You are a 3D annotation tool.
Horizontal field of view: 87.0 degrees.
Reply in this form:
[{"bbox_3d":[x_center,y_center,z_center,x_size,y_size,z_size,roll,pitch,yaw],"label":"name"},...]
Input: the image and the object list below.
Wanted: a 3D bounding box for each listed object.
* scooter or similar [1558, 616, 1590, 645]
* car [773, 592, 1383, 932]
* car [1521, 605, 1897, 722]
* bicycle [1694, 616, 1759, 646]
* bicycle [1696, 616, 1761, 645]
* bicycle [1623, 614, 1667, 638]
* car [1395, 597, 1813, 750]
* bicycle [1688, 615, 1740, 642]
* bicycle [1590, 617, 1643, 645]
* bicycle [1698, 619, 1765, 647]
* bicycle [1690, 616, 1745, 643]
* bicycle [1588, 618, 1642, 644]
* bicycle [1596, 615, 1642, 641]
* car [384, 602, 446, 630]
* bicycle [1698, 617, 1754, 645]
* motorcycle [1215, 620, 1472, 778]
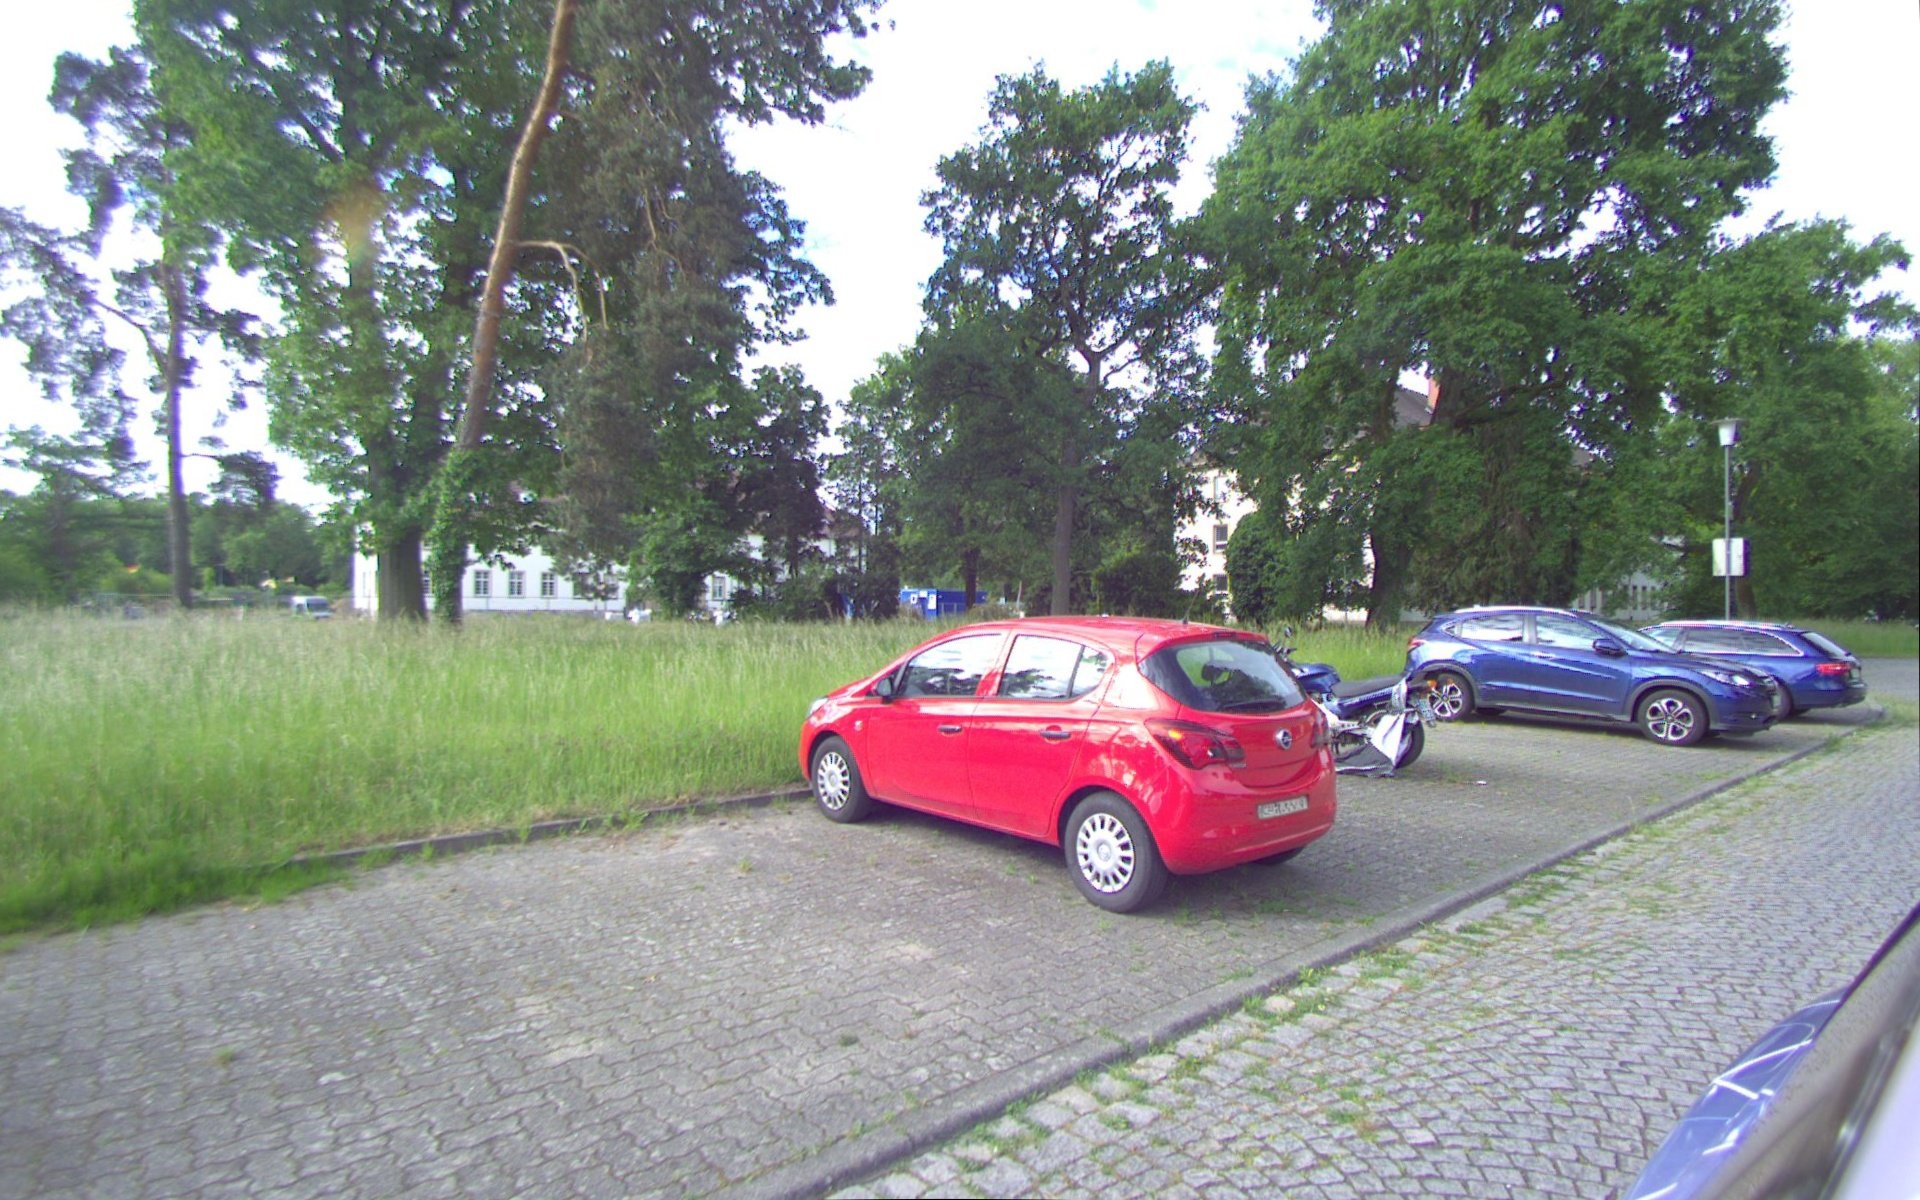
[{"bbox_3d":[25.712,1.265,42.385,0.378,1.210,1.063,1,-1,-38],"label":"scooter or similar"},{"bbox_3d":[0.518,0.741,6.687,1.708,1.524,3.845,1,0,-41],"label":"car"},{"bbox_3d":[11.814,0.895,16.281,1.860,1.483,4.518,1,1,-37],"label":"car"},{"bbox_3d":[30.310,1.227,40.059,1.999,1.101,0.474,1,2,28],"label":"bicycle"},{"bbox_3d":[30.738,1.213,40.523,1.999,1.101,0.474,1,2,28],"label":"bicycle"},{"bbox_3d":[30.454,1.151,45.028,1.550,1.047,0.472,1,0,26],"label":"bicycle"},{"bbox_3d":[8.245,0.805,13.281,1.862,1.593,4.271,1,0,-41],"label":"car"},{"bbox_3d":[32.889,1.254,44.187,1.735,1.101,0.548,0,2,28],"label":"bicycle"},{"bbox_3d":[27.147,1.270,41.874,1.792,1.101,0.475,0,2,23],"label":"bicycle"},{"bbox_3d":[29.759,1.261,39.081,1.999,1.022,0.474,1,2,28],"label":"bicycle"},{"bbox_3d":[32.535,1.253,43.498,1.791,1.101,0.548,0,2,28],"label":"bicycle"},{"bbox_3d":[27.402,1.292,42.367,1.835,1.002,0.453,1,0,23],"label":"bicycle"},{"bbox_3d":[28.467,1.195,43.739,1.546,1.102,0.559,1,0,19],"label":"bicycle"},{"bbox_3d":[-42.619,1.271,79.036,5.811,2.039,2.450,-2,-1,42],"label":"car"},{"bbox_3d":[31.176,1.254,41.205,1.772,1.101,0.474,0,2,28],"label":"bicycle"},{"bbox_3d":[3.602,0.872,9.704,2.265,1.291,0.596,1,0,45],"label":"motorcycle"}]
